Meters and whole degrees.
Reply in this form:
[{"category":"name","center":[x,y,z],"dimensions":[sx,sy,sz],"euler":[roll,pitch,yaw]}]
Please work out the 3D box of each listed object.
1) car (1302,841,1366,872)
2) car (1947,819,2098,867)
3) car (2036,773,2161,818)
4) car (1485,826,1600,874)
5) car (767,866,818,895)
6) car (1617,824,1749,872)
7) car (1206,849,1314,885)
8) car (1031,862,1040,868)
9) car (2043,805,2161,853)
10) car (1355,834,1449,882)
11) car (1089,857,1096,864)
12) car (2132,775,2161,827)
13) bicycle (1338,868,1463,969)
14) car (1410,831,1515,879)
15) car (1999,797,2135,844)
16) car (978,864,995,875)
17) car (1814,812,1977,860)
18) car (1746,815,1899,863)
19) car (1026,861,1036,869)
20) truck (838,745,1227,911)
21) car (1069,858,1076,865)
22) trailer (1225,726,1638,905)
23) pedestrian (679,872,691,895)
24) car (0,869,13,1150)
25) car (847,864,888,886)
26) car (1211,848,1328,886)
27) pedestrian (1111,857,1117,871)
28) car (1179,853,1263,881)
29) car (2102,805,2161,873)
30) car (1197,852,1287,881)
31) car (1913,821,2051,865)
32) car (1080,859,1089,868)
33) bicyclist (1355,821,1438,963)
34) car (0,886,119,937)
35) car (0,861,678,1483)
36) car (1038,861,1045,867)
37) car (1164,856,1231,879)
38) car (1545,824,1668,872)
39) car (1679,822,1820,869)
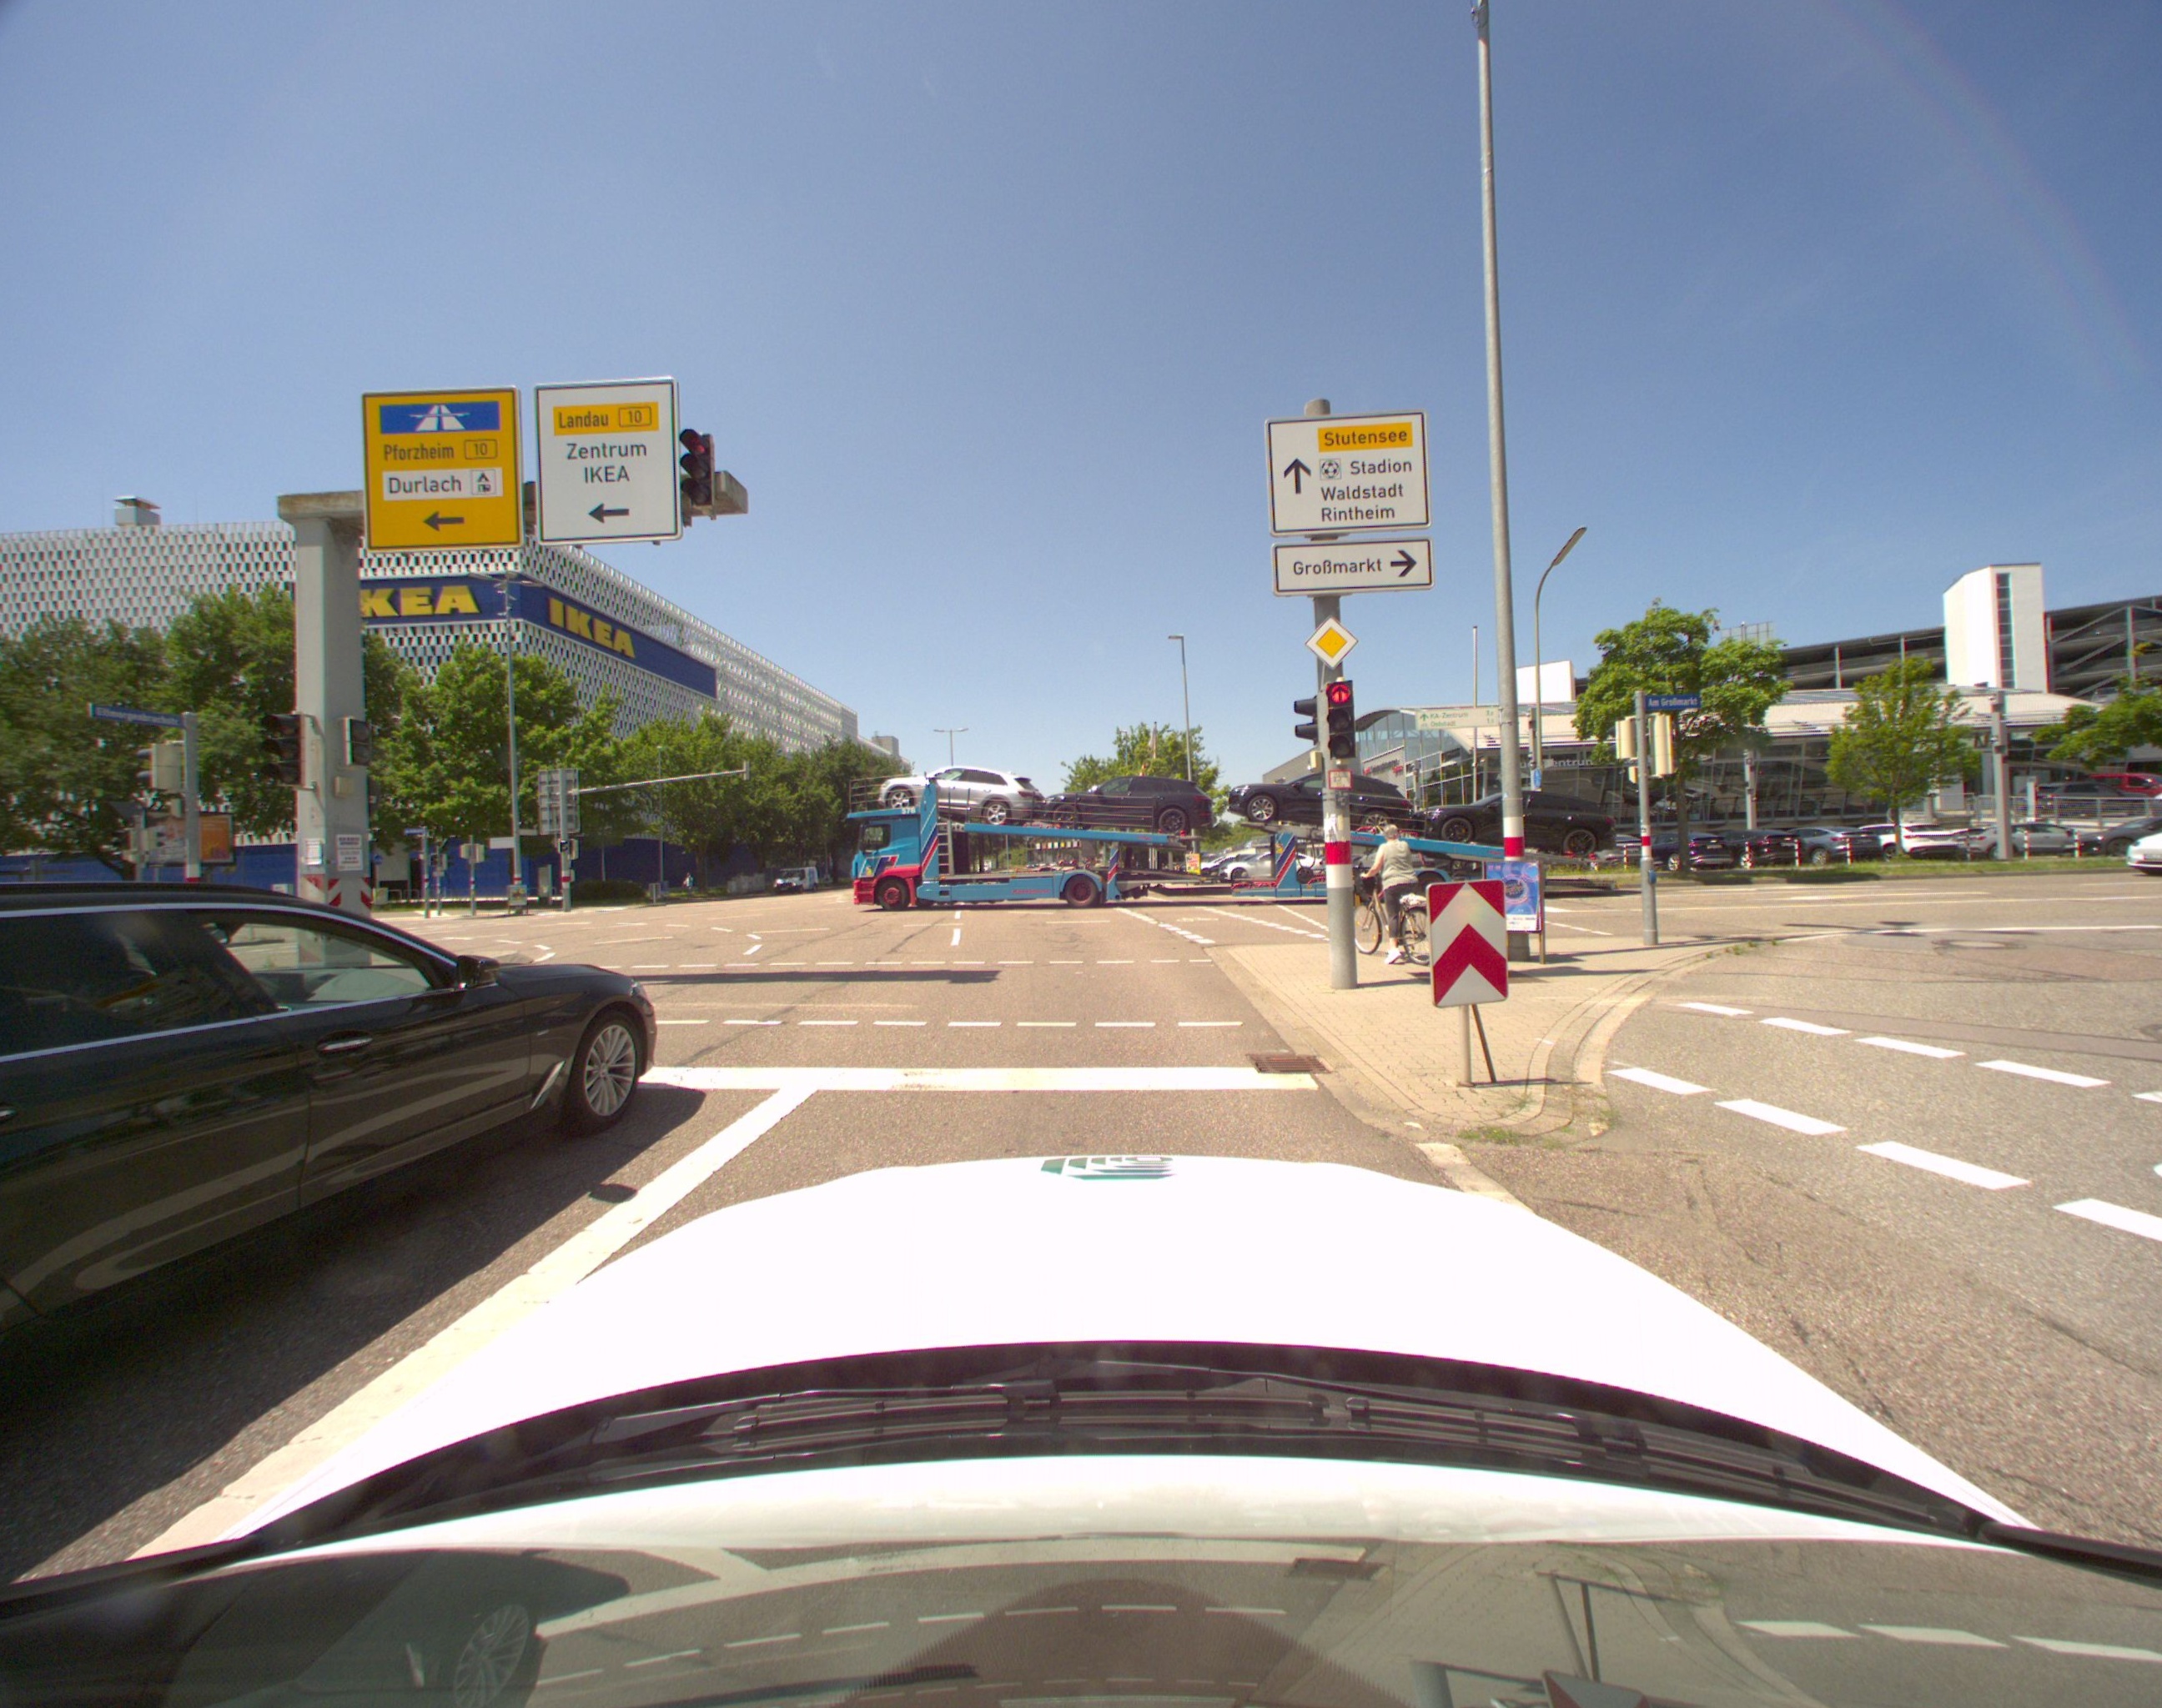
[{"category":"car","center":[18.315,0.179,59.026],"dimensions":[3.972,2.013,2.001],"euler":[-2,0,2]},{"category":"car","center":[39.024,-0.433,33.880],"dimensions":[3.665,1.777,1.759],"euler":[-2,0,28]},{"category":"car","center":[54.655,-3.097,43.689],"dimensions":[1.990,2.013,3.994],"euler":[-2,0,-4]},{"category":"car","center":[17.748,-0.153,31.602],"dimensions":[1.986,1.639,4.442],"euler":[-3,0,1]},{"category":"car","center":[-22.063,1.989,62.545],"dimensions":[1.986,2.007,4.766],"euler":[-3,-1,2]},{"category":"car","center":[23.007,-0.232,31.362],"dimensions":[1.821,1.639,4.475],"euler":[-3,0,1]},{"category":"car","center":[8.415,0.612,38.594],"dimensions":[4.722,1.457,2.001],"euler":[-2,-1,3]},{"category":"car","center":[-10.874,2.549,194.165],"dimensions":[1.678,1.411,3.666],"euler":[-3,-1,1]},{"category":"car","center":[39.278,-0.956,29.940],"dimensions":[4.705,1.639,1.844],"euler":[-3,0,24]},{"category":"car","center":[12.256,0.131,31.426],"dimensions":[1.986,1.639,4.269],"euler":[-2,0,1]},{"category":"car","center":[3.219,1.818,223.061],"dimensions":[1.766,1.728,4.001],"euler":[-3,-1,1]},{"category":"car","center":[45.257,-2.217,32.023],"dimensions":[5.109,2.013,2.001],"euler":[-2,0,1]},{"category":"bicycle","center":[4.054,0.772,10.522],"dimensions":[0.784,1.127,1.919],"euler":[-1,0,-2]},{"category":"car","center":[14.644,0.035,31.573],"dimensions":[1.986,1.639,4.559],"euler":[-2,0,1]},{"category":"car","center":[46.637,-1.547,38.608],"dimensions":[3.728,2.013,1.865],"euler":[-2,0,10]},{"category":"car","center":[-15.478,2.610,133.886],"dimensions":[1.918,1.665,4.093],"euler":[-3,-1,4]},{"category":"car","center":[31.041,-0.664,31.263],"dimensions":[1.821,1.639,4.475],"euler":[-3,0,1]},{"category":"car","center":[28.371,-0.561,31.383],"dimensions":[1.821,1.639,4.475],"euler":[-3,0,1]},{"category":"car","center":[-10.673,2.338,174.184],"dimensions":[1.726,1.427,3.706],"euler":[-4,-1,1]},{"category":"truck","center":[-1.241,-0.606,23.376],"dimensions":[10.553,4.083,3.109],"euler":[-2,-1,9]},{"category":"car","center":[-2.386,2.068,223.205],"dimensions":[1.766,1.728,4.001],"euler":[-3,-1,1]},{"category":"trailer","center":[8.760,-0.872,21.710],"dimensions":[9.554,4.081,3.103],"euler":[-2,-1,9]},{"category":"pedestrian","center":[-26.503,1.965,54.508],"dimensions":[0.460,1.482,0.484],"euler":[-3,-1,5]},{"category":"car","center":[-6.520,0.839,2.320],"dimensions":[1.794,1.494,3.994],"euler":[-1,0,-4]},{"category":"car","center":[-16.710,1.634,64.052],"dimensions":[1.868,1.598,4.497],"euler":[-3,-1,1]},{"category":"car","center":[8.221,0.551,35.933],"dimensions":[4.722,1.457,2.002],"euler":[-2,0,3]},{"category":"pedestrian","center":[3.641,1.087,89.796],"dimensions":[0.665,1.510,0.736],"euler":[-2,0,1]},{"category":"car","center":[8.431,0.767,49.242],"dimensions":[4.727,1.457,2.000],"euler":[-2,0,-1]},{"category":"car","center":[27.732,-0.424,19.121],"dimensions":[4.655,1.588,2.004],"euler":[-2,1,6]},{"category":"car","center":[9.133,0.692,46.463],"dimensions":[4.727,1.457,2.000],"euler":[-2,0,-1]},{"category":"car","center":[40.158,-0.486,36.434],"dimensions":[3.720,1.772,1.781],"euler":[-3,0,31]},{"category":"car","center":[0.460,1.244,108.100],"dimensions":[1.133,1.042,2.309],"euler":[-2,0,1]},{"category":"bicyclist","center":[4.022,0.465,10.444],"dimensions":[0.732,1.749,0.753],"euler":[-1,0,-3]},{"category":"car","center":[-37.244,2.061,29.205],"dimensions":[4.168,1.652,1.720],"euler":[-2,0,11]},{"category":"car","center":[-3.499,0.795,2.864],"dimensions":[1.794,1.466,4.623],"euler":[-1,0,0]},{"category":"car","center":[-10.923,2.808,225.953],"dimensions":[1.644,1.653,4.162],"euler":[-2,0,-1]},{"category":"car","center":[8.798,0.984,61.577],"dimensions":[4.727,1.457,2.000],"euler":[-3,0,-1]},{"category":"car","center":[20.161,-0.243,31.504],"dimensions":[1.878,1.639,4.526],"euler":[-3,0,1]},{"category":"car","center":[25.604,-0.312,31.417],"dimensions":[1.821,1.639,4.475],"euler":[-1,0,1]}]
